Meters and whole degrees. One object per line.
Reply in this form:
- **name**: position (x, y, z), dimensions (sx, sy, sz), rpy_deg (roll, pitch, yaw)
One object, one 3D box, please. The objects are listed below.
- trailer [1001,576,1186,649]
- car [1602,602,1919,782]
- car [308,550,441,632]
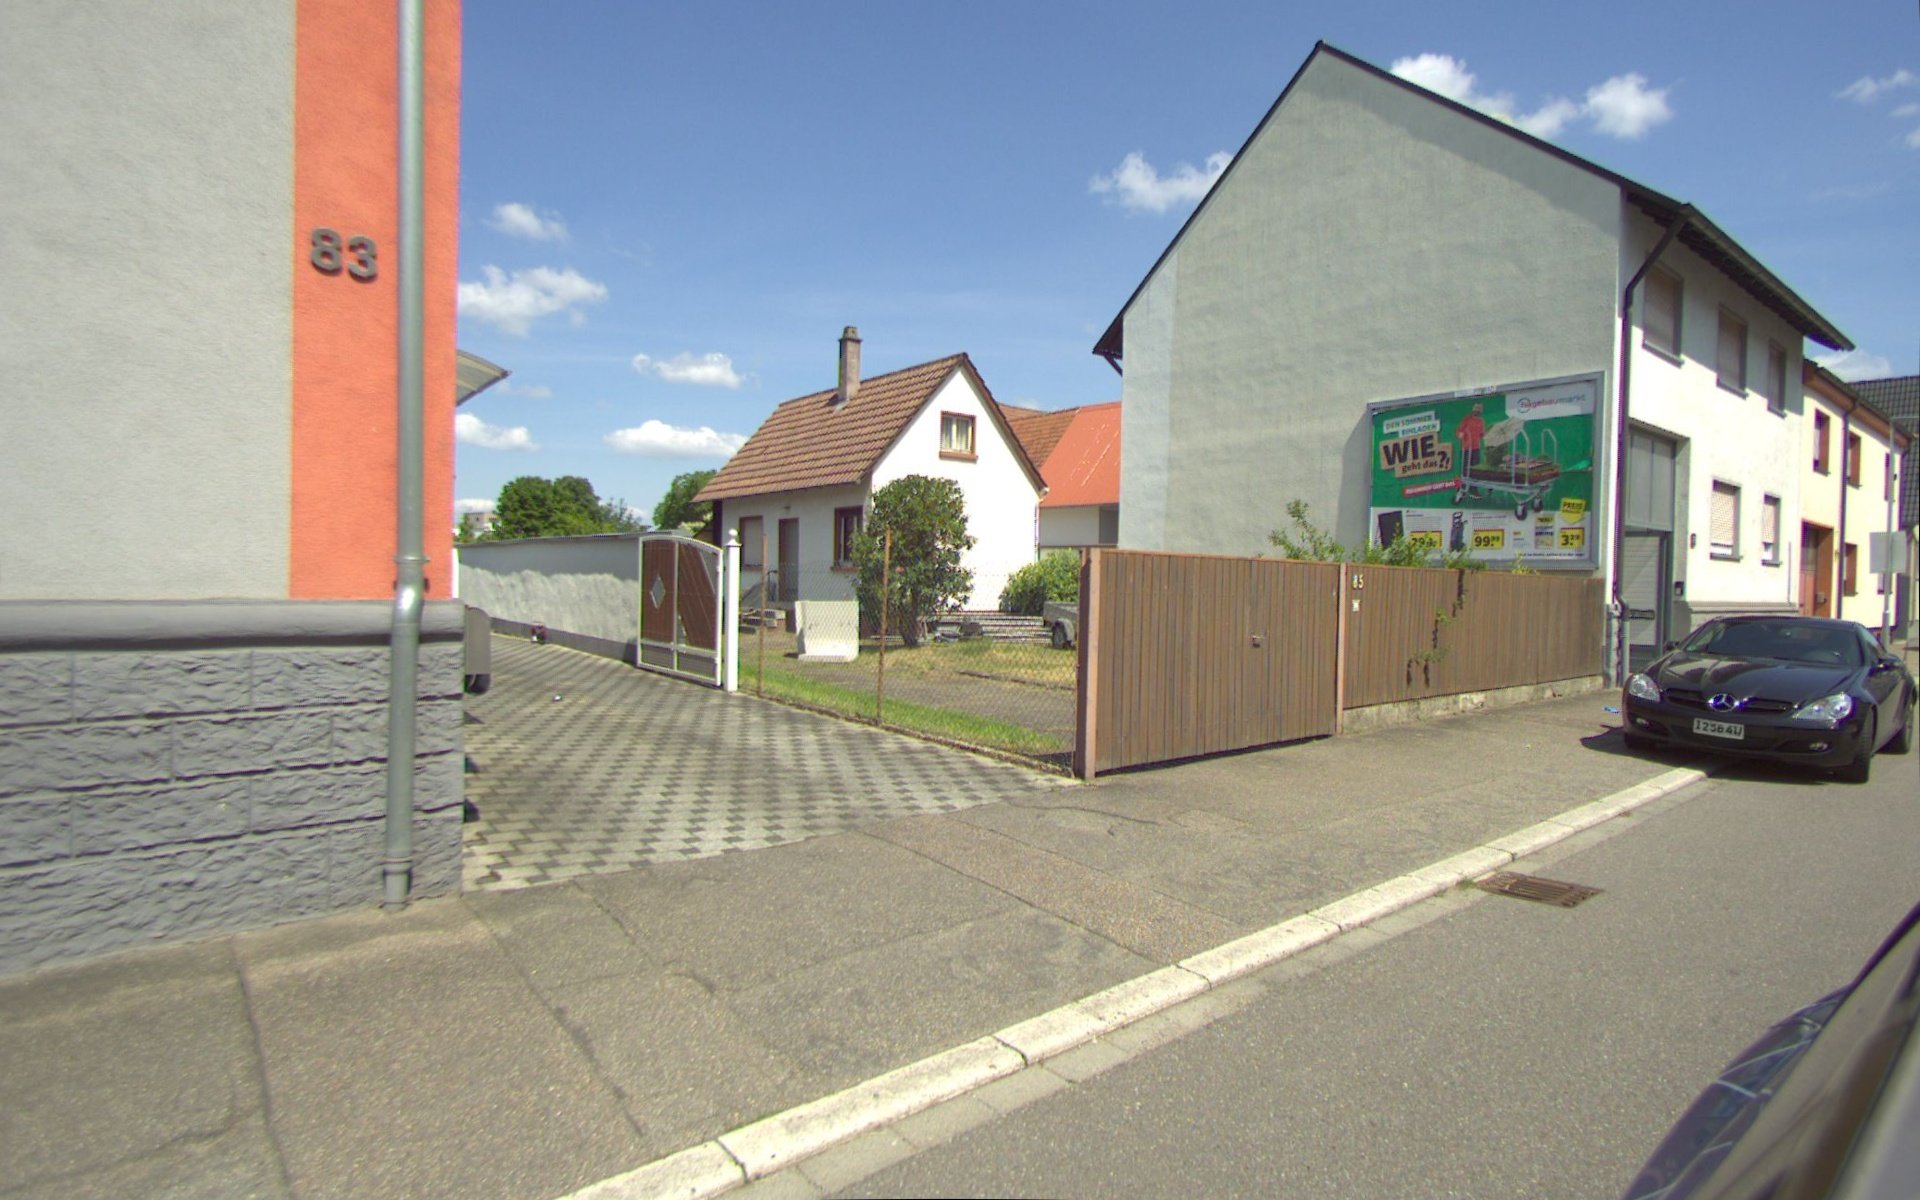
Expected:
- **trailer**: position (2.575, 0.185, 20.182), dimensions (1.912, 1.274, 3.466), rpy_deg (0, 2, -31)
- **car**: position (7.909, 0.706, 9.702), dimensions (4.073, 1.291, 1.819), rpy_deg (0, 2, -40)
- **car**: position (-12.736, -0.171, 21.872), dimensions (1.963, 1.572, 4.582), rpy_deg (0, 0, -37)
